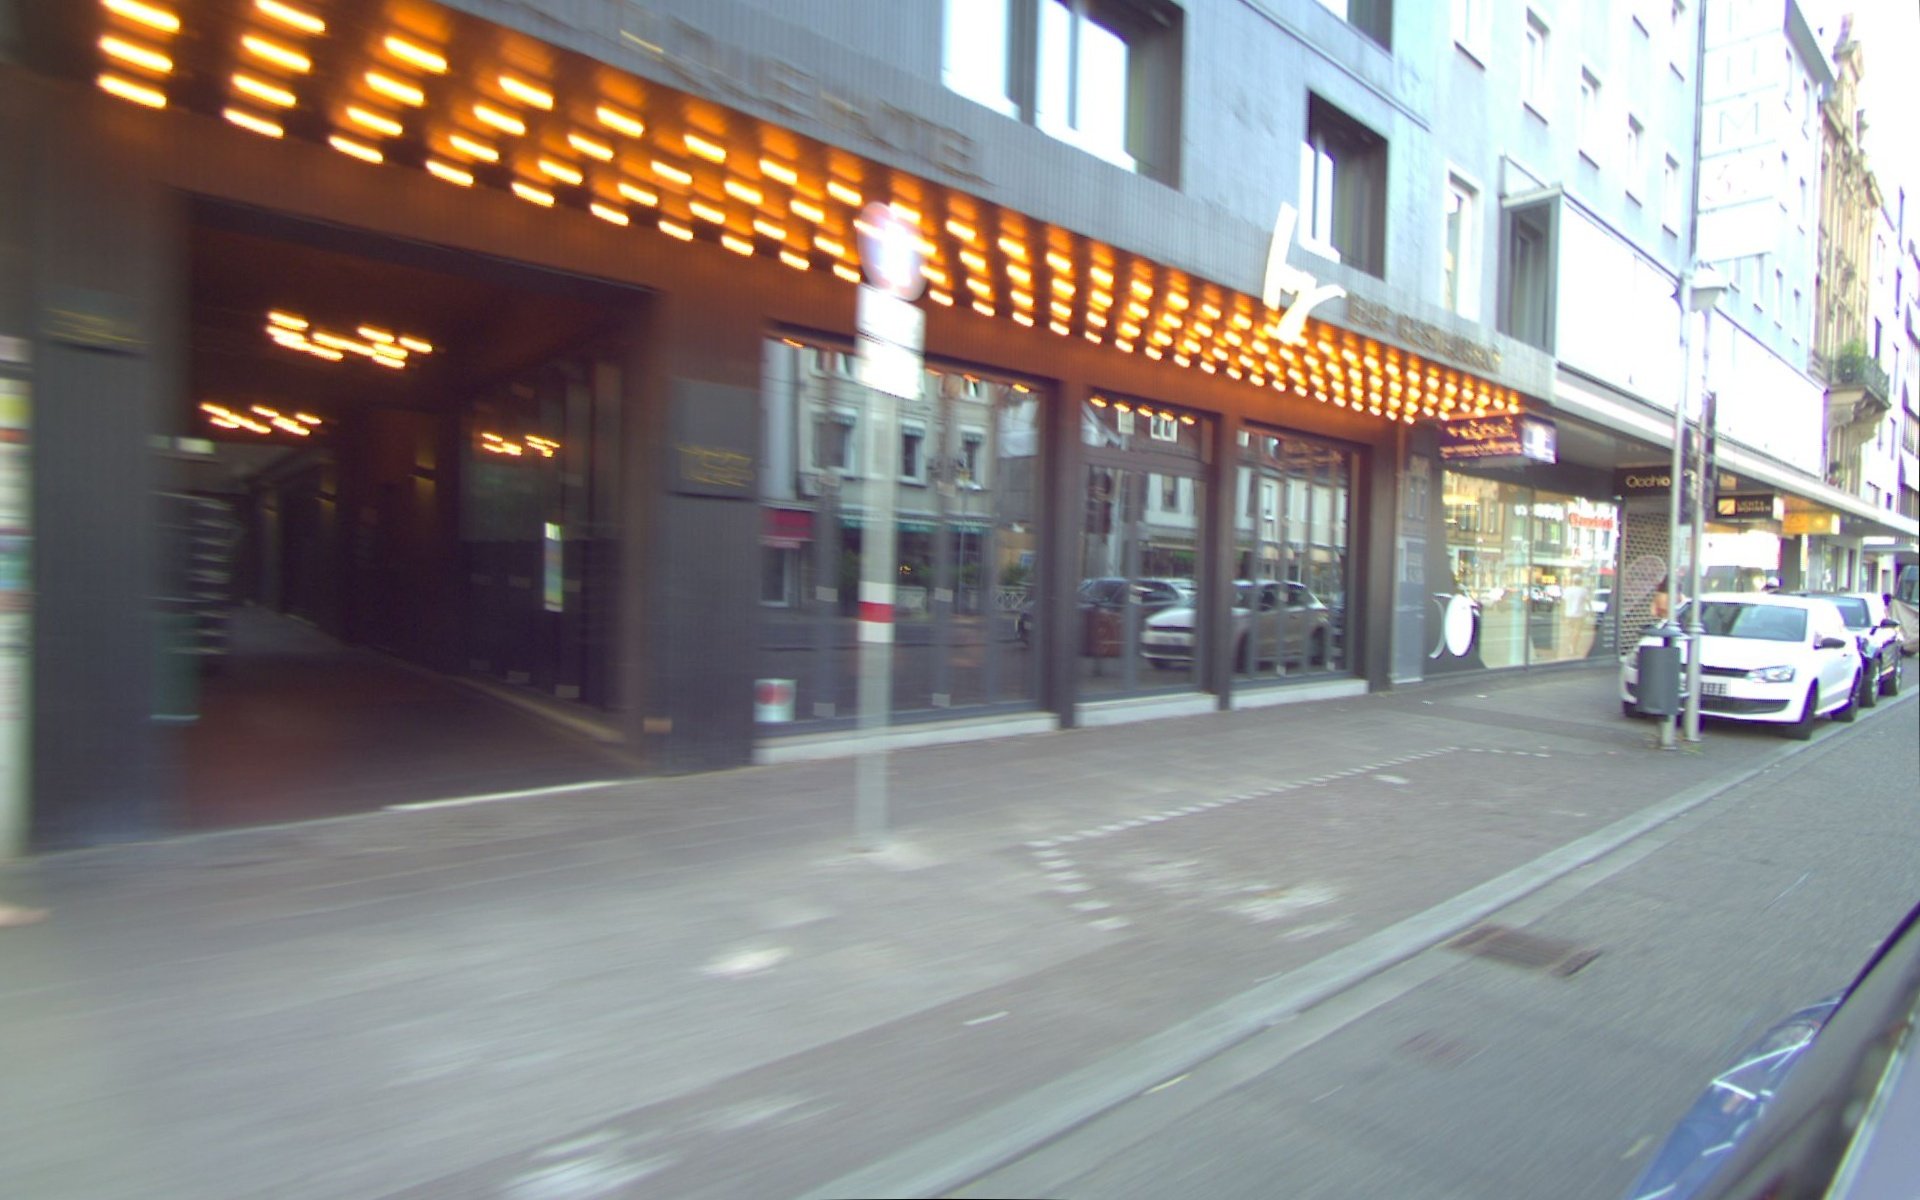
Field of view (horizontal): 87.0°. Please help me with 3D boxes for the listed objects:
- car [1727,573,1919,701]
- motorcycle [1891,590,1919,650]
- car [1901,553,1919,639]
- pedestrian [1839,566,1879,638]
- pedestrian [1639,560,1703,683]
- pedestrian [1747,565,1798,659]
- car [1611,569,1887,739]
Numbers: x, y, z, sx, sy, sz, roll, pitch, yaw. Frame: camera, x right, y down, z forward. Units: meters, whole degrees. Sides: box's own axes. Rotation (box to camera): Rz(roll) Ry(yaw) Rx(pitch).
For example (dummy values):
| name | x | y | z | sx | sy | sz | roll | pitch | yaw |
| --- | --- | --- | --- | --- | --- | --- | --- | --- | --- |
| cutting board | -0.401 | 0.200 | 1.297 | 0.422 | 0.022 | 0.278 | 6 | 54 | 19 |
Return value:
| name | x | y | z | sx | sy | sz | roll | pitch | yaw |
| --- | --- | --- | --- | --- | --- | --- | --- | --- | --- |
| car | 12.842 | 0.449 | 14.891 | 3.964 | 1.594 | 1.673 | 0 | 2 | -41 |
| motorcycle | 23.368 | 0.480 | 24.368 | 1.478 | 1.394 | 0.576 | 1 | 1 | -11 |
| car | 29.419 | -0.100 | 29.761 | 5.489 | 2.414 | 2.044 | 0 | 2 | -42 |
| pedestrian | 26.195 | 0.044 | 29.479 | 0.810 | 2.038 | 0.711 | 0 | 2 | -41 |
| pedestrian | 10.663 | 0.304 | 15.179 | 0.594 | 1.775 | 0.610 | 0 | 2 | -41 |
| pedestrian | 15.712 | 0.224 | 19.571 | 0.594 | 1.775 | 0.610 | 0 | 2 | -41 |
| car | 9.081 | 0.489 | 11.550 | 3.817 | 1.561 | 1.682 | 0 | 4 | -40 |
